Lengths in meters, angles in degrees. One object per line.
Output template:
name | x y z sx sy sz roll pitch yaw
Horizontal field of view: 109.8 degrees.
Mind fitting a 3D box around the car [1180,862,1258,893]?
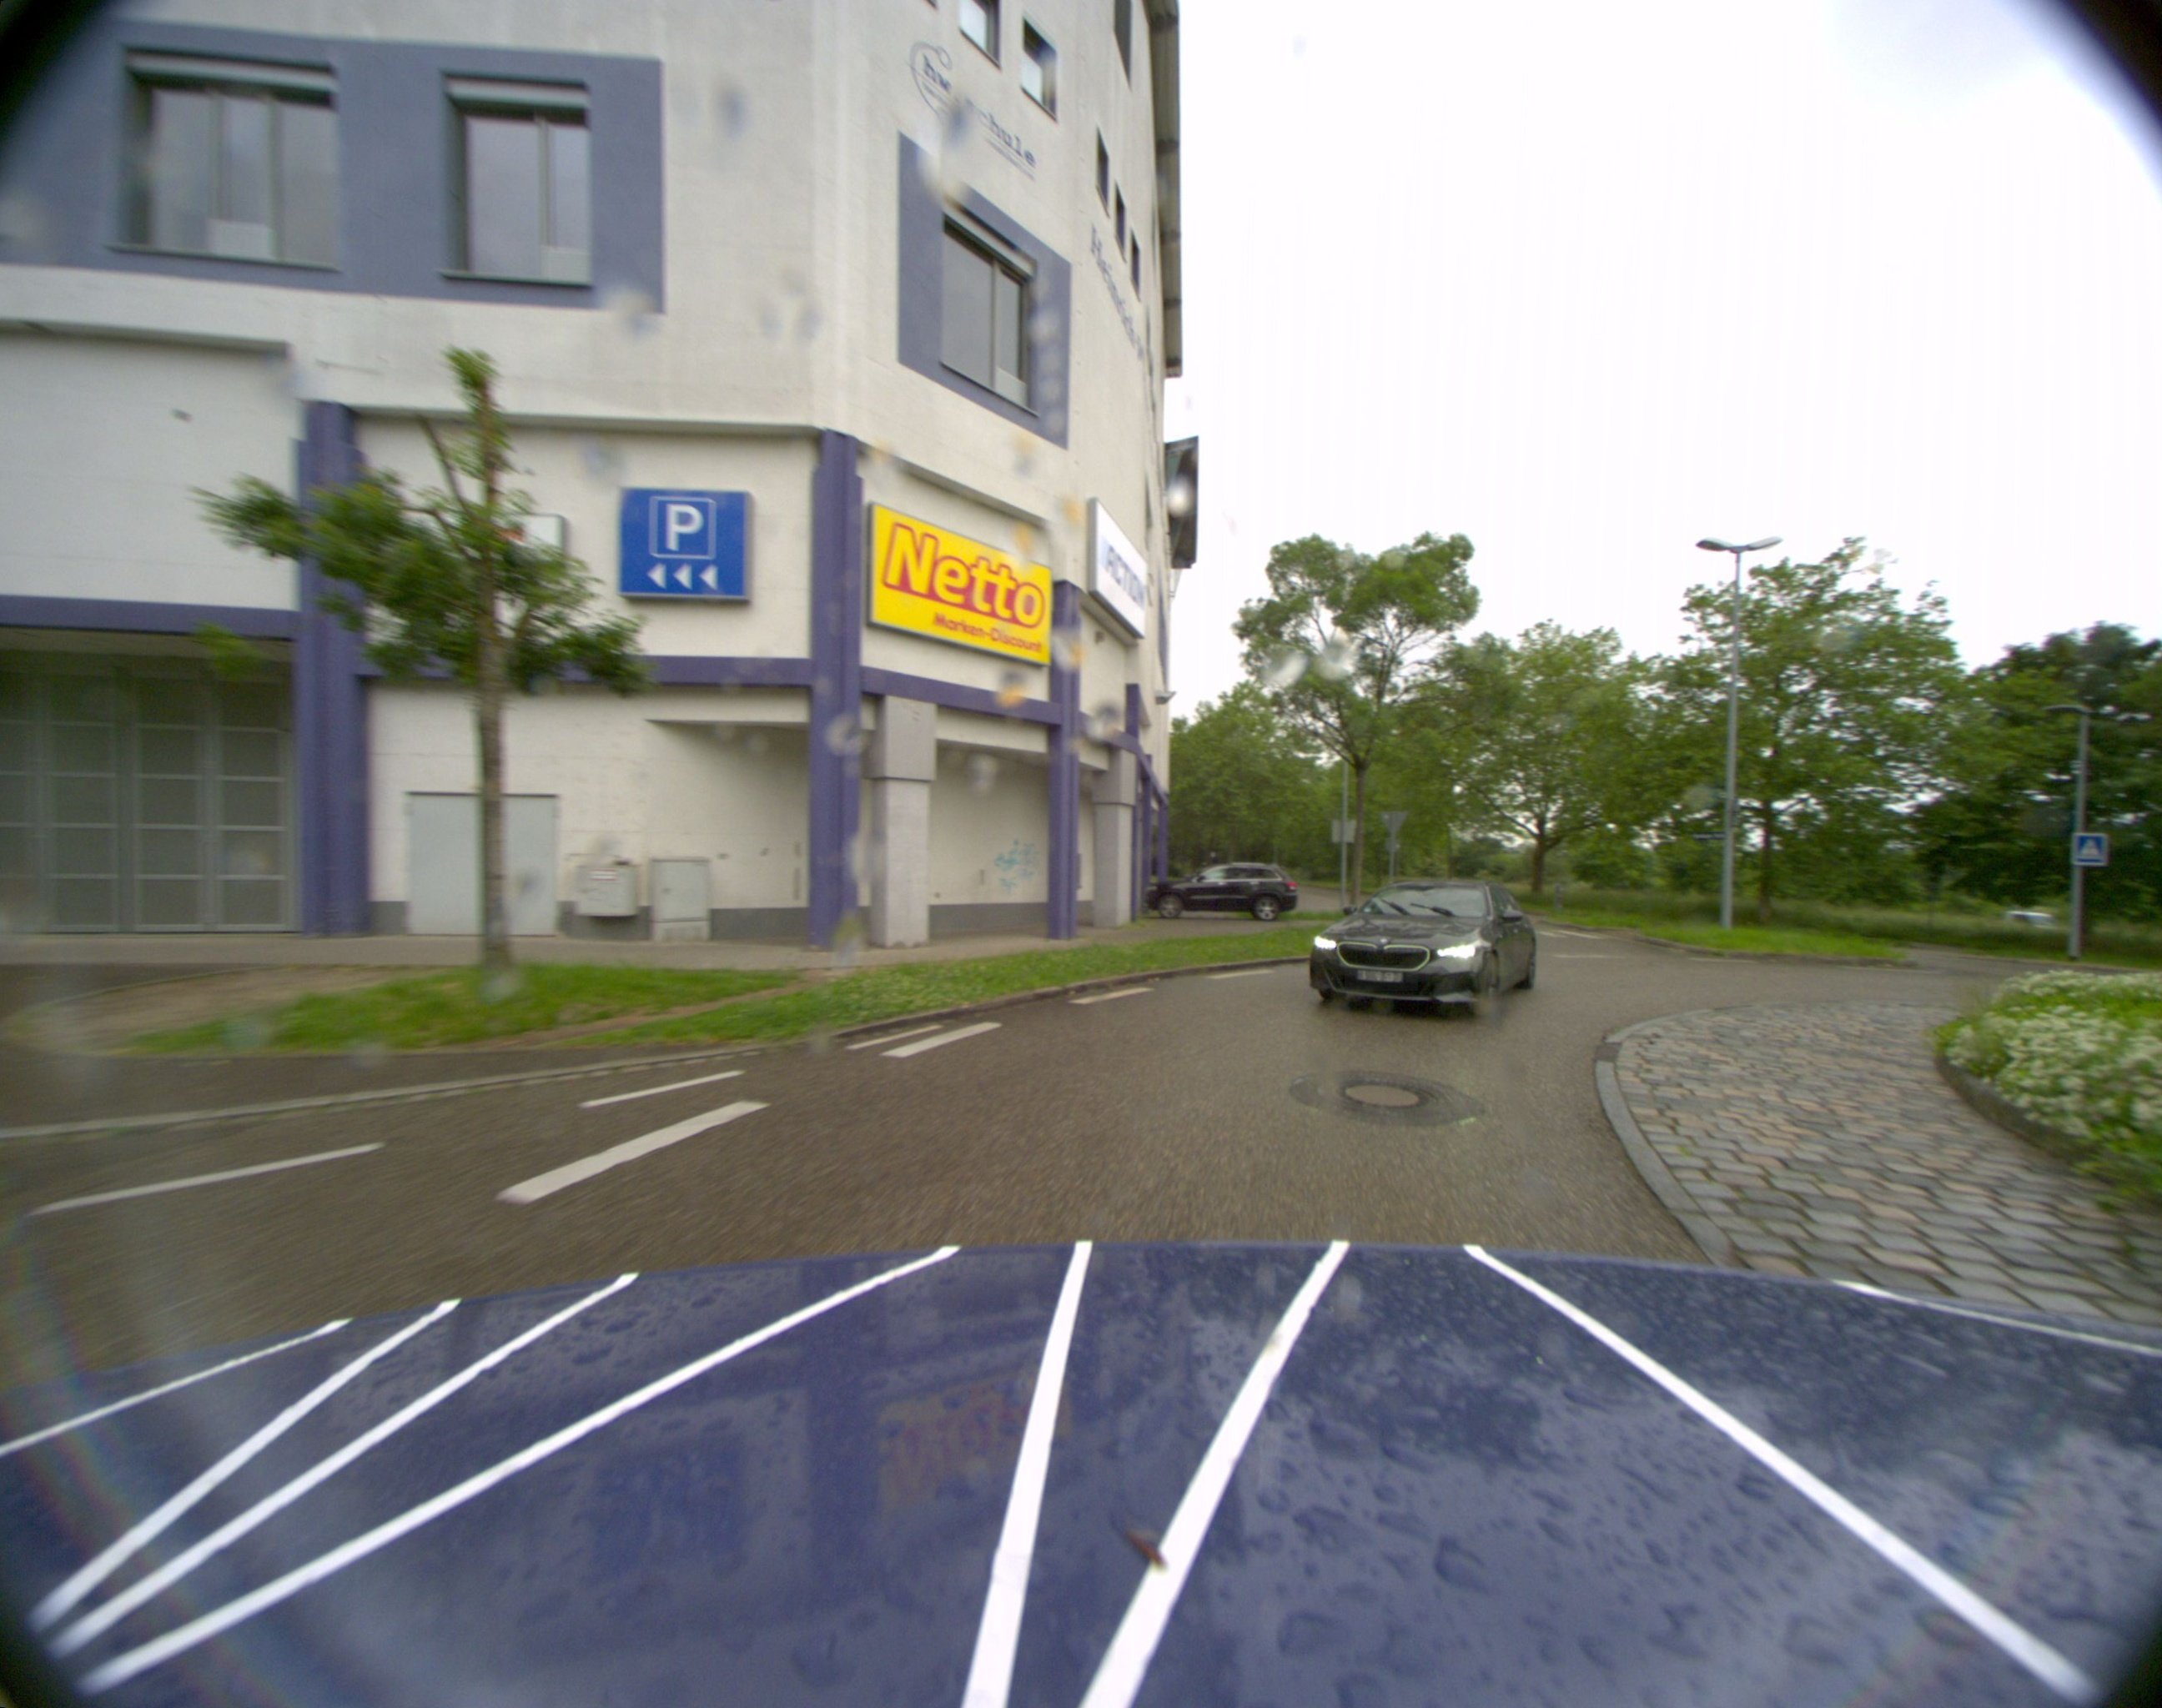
car | 7.345 1.224 40.656 3.945 1.444 1.722 2 1 8

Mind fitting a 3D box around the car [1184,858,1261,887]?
car | 8.768 1.139 47.281 4.480 1.670 1.768 2 0 3

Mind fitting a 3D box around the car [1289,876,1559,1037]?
car | 4.650 1.102 9.805 1.839 1.485 4.913 1 -1 40

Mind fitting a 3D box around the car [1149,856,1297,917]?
car | 4.393 1.003 23.942 4.385 1.748 1.831 1 -1 7
